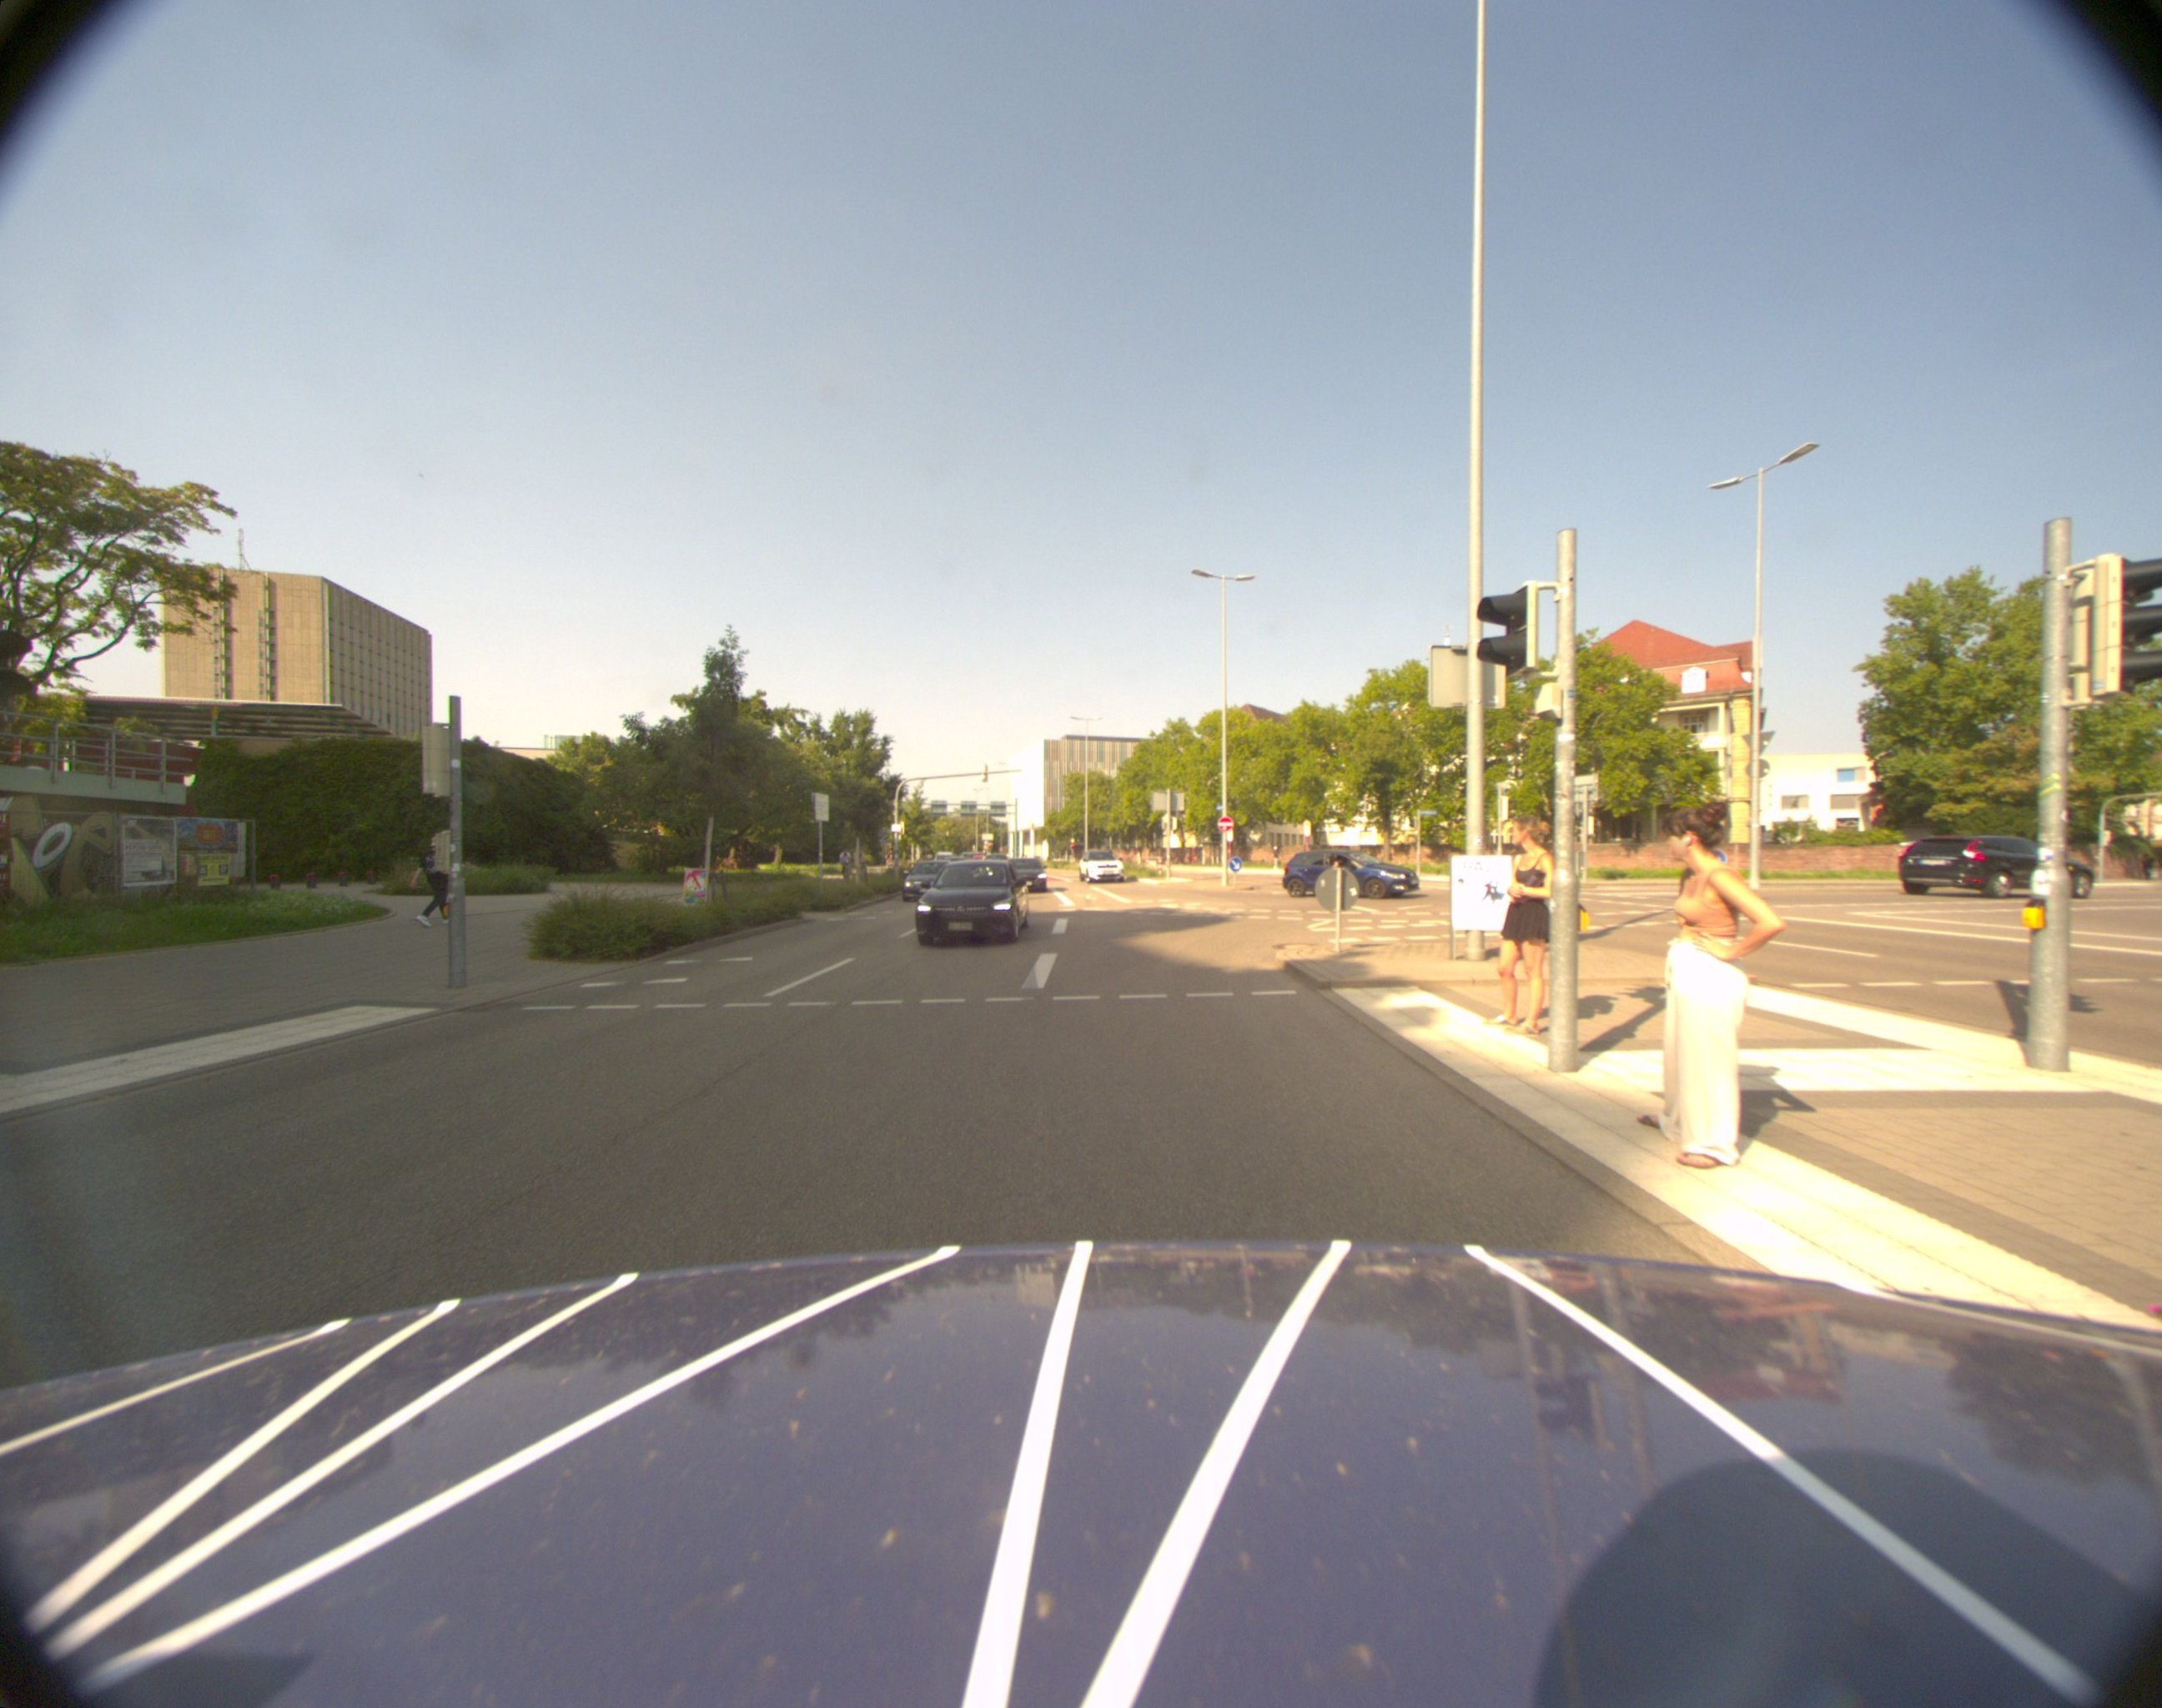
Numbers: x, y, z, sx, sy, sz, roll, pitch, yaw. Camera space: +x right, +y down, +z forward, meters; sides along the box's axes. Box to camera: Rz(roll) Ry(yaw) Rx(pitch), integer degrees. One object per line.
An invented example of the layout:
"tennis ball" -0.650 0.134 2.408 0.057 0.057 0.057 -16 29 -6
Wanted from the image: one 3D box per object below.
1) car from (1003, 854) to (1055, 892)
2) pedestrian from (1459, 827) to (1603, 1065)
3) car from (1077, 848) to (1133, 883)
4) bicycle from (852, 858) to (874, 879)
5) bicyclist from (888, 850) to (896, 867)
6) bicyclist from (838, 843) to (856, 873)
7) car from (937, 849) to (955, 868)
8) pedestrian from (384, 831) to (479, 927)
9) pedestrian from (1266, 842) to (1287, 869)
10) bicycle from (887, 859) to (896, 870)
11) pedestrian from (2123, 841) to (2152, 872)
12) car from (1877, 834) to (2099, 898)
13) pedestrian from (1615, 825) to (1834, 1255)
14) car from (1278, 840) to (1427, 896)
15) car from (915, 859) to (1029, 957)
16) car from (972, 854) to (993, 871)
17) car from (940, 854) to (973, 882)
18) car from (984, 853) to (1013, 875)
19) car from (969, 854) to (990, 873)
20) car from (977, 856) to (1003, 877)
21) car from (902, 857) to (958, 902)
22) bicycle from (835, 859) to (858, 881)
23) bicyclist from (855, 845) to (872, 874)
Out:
"car" -2.267 0.743 32.021 1.838 1.427 4.546 -1 0 -8
"pedestrian" 3.355 0.650 5.726 0.668 1.689 0.692 0 1 1
"car" 1.160 0.556 39.056 2.000 1.624 4.368 -3 0 -9
"bicycle" -12.252 0.803 42.738 0.773 1.111 2.302 -1 0 -7
"bicyclist" -19.442 0.458 78.121 0.774 1.666 0.923 -1 1 -11
"bicyclist" -12.515 0.220 40.706 0.773 1.584 0.923 0 1 -6
"car" -14.261 0.467 80.133 1.689 1.930 4.367 0 0 -13
"pedestrian" -12.579 0.476 14.757 0.960 1.772 1.002 2 1 -1
"pedestrian" 14.728 0.108 57.305 1.079 2.002 1.317 -1 1 -7
"bicycle" -19.445 1.094 78.146 0.774 1.111 2.301 -1 1 -11
"pedestrian" 71.365 0.163 51.320 0.817 2.002 0.821 -3 1 -7
"car" 24.723 0.294 20.791 4.373 1.624 1.998 0 1 -10
"pedestrian" 2.835 0.711 3.413 0.667 1.645 0.781 1 1 38
"car" 8.041 0.484 22.723 1.629 1.488 3.840 2 -4 -44
"car" -1.917 0.886 14.507 1.687 1.483 4.371 -2 0 -3
"car" -9.290 0.782 71.621 1.688 1.483 4.367 0 0 -11
"car" -7.122 0.761 43.187 1.688 1.483 4.668 0 0 -11
"car" -5.842 0.642 53.717 1.688 1.483 4.367 0 0 -11
"car" -10.527 0.931 78.638 1.689 1.930 4.068 0 0 -14
"car" -7.489 1.010 62.184 1.784 1.597 4.416 0 1 -11
"car" -5.490 0.871 28.048 1.688 1.434 4.369 -1 0 -8
"bicycle" -12.492 0.841 40.513 0.773 1.111 2.302 0 0 -6
"bicyclist" -12.248 0.317 42.743 0.773 1.584 0.923 -1 1 -7
